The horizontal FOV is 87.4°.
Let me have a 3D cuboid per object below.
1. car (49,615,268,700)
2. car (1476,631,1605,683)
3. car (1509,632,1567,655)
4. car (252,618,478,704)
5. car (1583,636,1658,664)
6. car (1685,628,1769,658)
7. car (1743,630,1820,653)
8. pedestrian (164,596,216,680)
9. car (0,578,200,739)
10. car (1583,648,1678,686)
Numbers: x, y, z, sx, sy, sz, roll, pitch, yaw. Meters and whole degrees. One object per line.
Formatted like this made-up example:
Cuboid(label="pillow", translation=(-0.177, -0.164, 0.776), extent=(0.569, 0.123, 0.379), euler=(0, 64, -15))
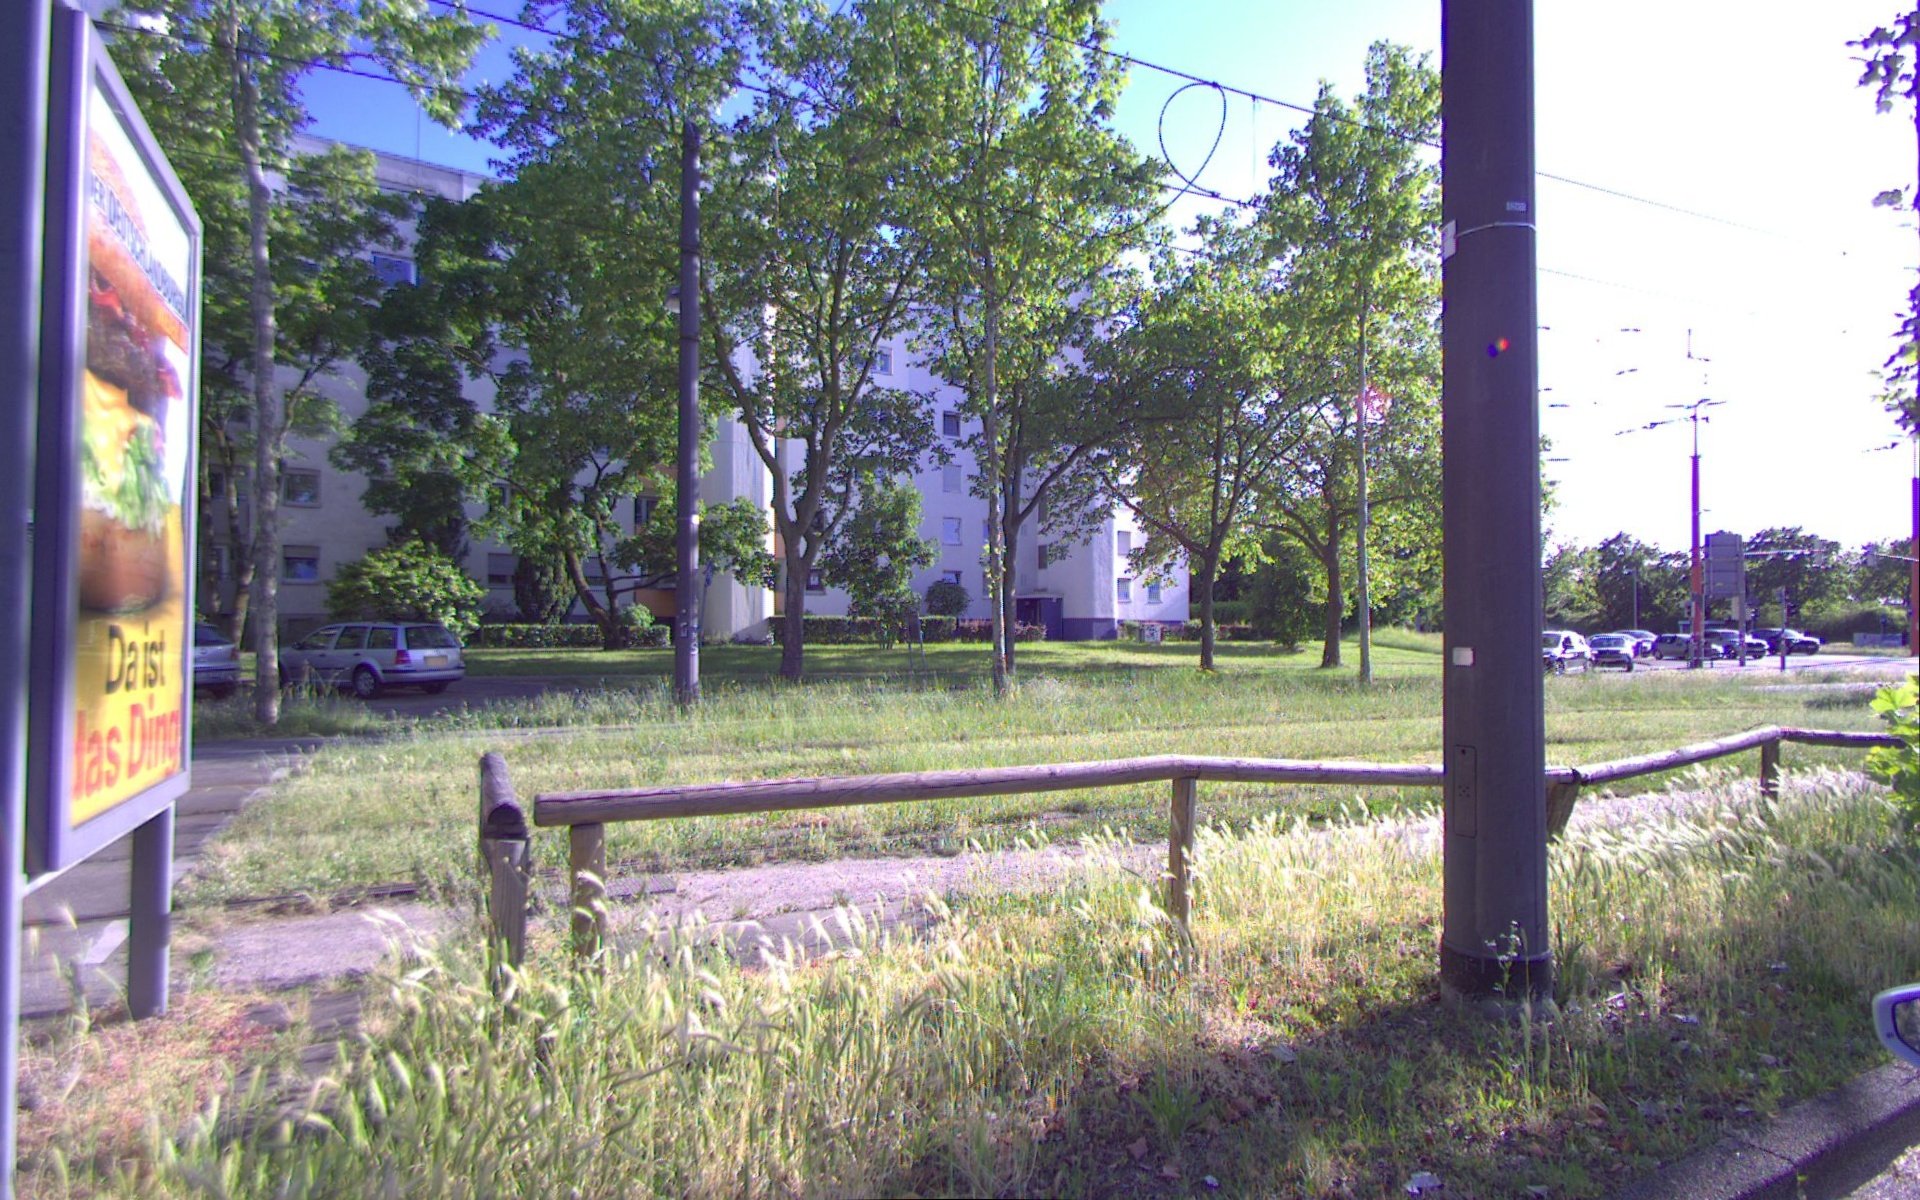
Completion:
Cuboid(label="car", translation=(-15.245, 1.045, 19.122), extent=(3.547, 1.439, 1.576), euler=(1, 0, 18))
Cuboid(label="car", translation=(18.267, 1.758, 31.566), extent=(4.054, 1.532, 1.756), euler=(1, -1, -30))
Cuboid(label="car", translation=(41.283, 3.117, 71.842), extent=(1.699, 1.533, 3.998), euler=(1, -1, -3))
Cuboid(label="car", translation=(-11.862, 1.158, 20.065), extent=(3.898, 1.462, 1.710), euler=(1, 0, 18))
Cuboid(label="car", translation=(41.893, 3.153, 63.815), extent=(1.833, 1.633, 4.186), euler=(1, -1, -4))
Cuboid(label="car", translation=(45.220, 2.502, 59.313), extent=(1.960, 1.666, 4.001), euler=(1, -1, 2))
Cuboid(label="car", translation=(51.612, 2.613, 63.215), extent=(1.664, 1.347, 4.001), euler=(1, -1, 2))
Cuboid(label="pedestrian", translation=(-16.761, 0.812, 21.883), extent=(0.746, 1.780, 0.757), euler=(1, -1, -29))
Cuboid(label="car", translation=(-12.945, 0.734, 13.088), extent=(4.596, 2.018, 1.783), euler=(1, -1, -30))
Cuboid(label="car", translation=(29.301, 2.886, 43.861), extent=(4.280, 1.543, 1.797), euler=(1, -1, -31))
